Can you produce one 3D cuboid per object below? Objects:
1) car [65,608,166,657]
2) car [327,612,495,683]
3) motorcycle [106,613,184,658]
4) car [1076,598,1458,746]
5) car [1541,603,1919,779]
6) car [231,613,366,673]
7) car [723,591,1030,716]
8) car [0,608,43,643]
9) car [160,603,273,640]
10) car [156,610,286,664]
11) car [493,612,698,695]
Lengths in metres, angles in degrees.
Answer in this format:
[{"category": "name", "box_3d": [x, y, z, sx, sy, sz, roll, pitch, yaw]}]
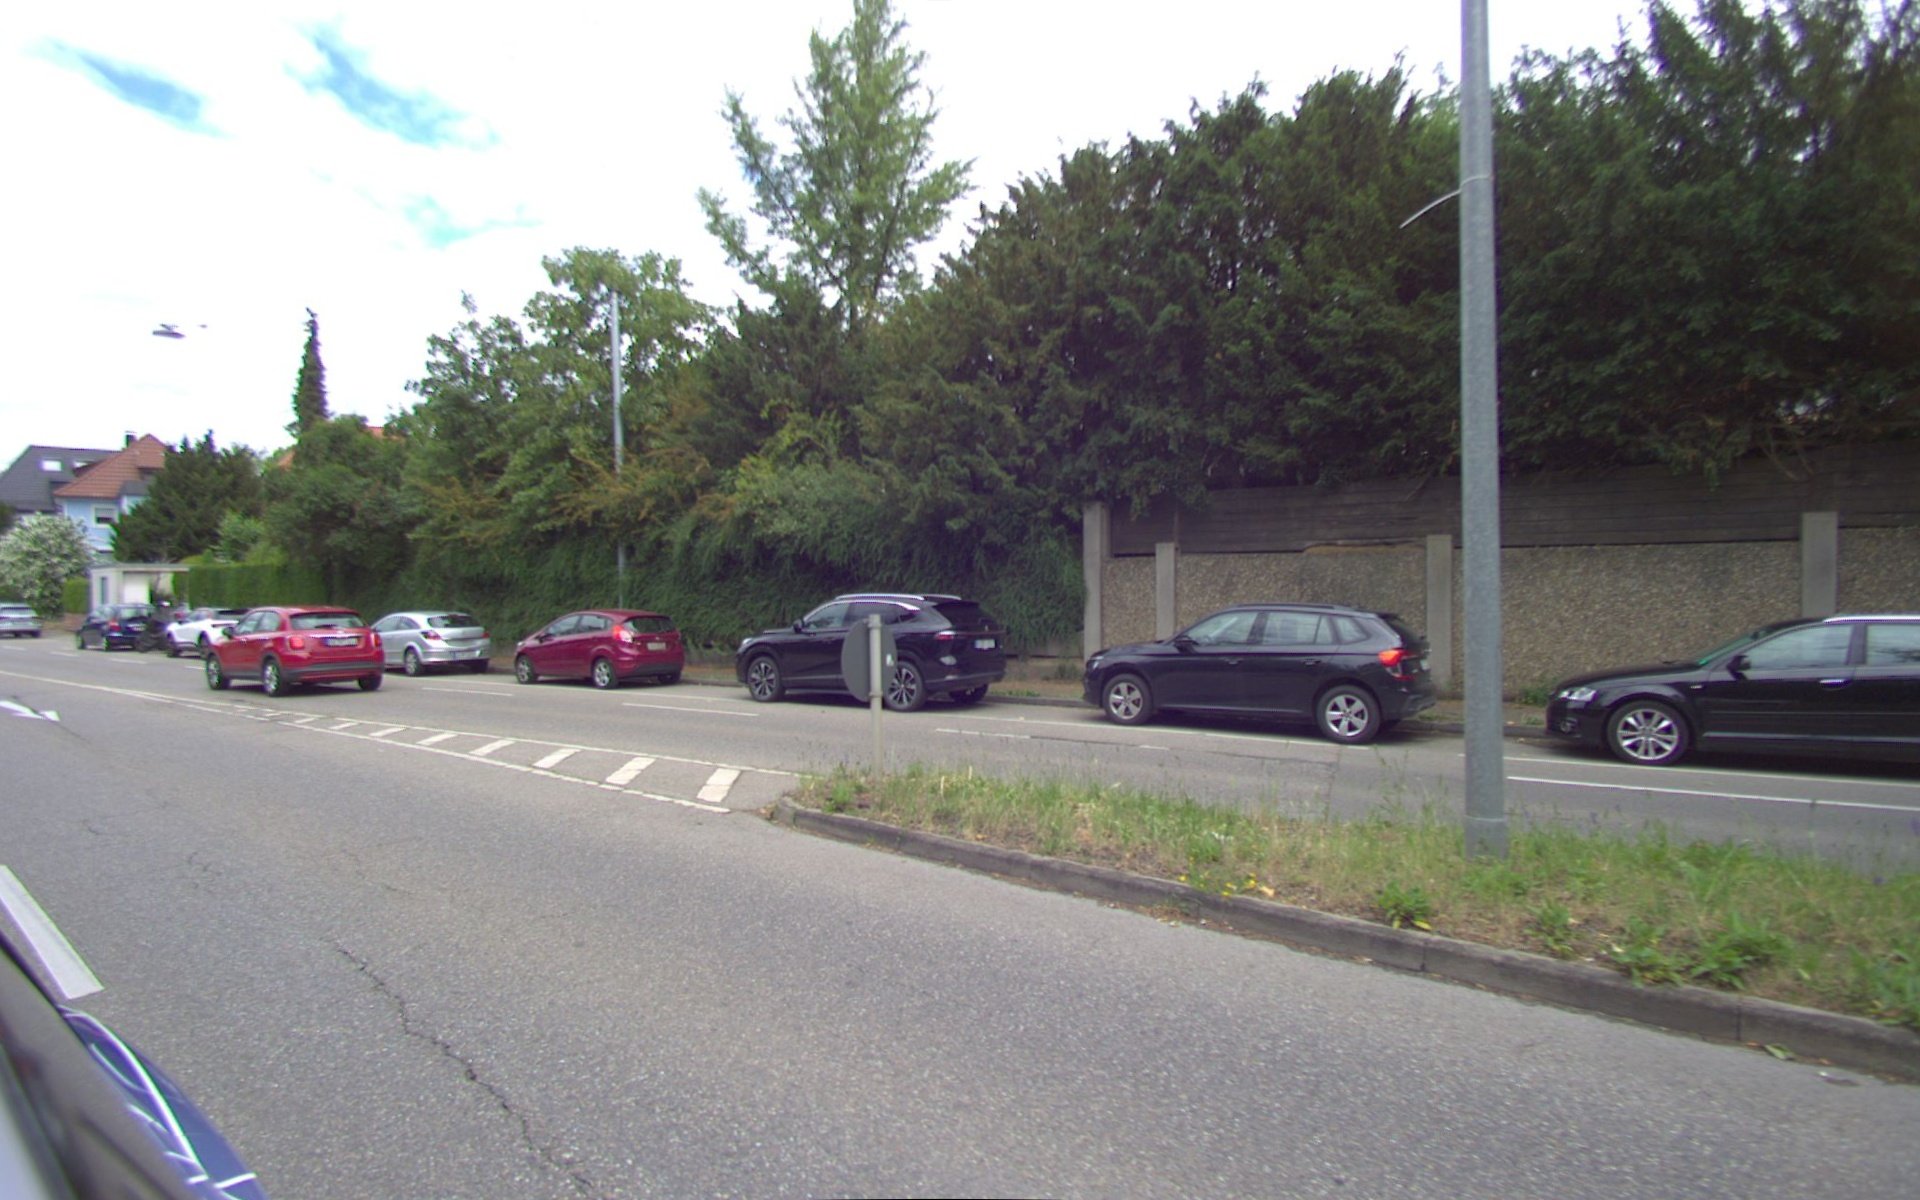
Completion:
[{"category": "car", "box_3d": [-29.061, 1.084, 34.808, 3.961, 1.568, 1.664, 0, 0, 34]}, {"category": "car", "box_3d": [-12.890, 1.040, 23.685, 4.420, 1.499, 1.655, 0, 0, 35]}, {"category": "motorcycle", "box_3d": [-26.237, 1.147, 32.596, 2.288, 1.366, 0.883, -2, -2, 19]}, {"category": "car", "box_3d": [3.669, 0.751, 12.337, 4.094, 1.523, 1.930, 0, -1, 35]}, {"category": "car", "box_3d": [7.826, 0.751, 9.304, 4.211, 1.411, 1.634, 0, 1, 34]}, {"category": "car", "box_3d": [-17.779, 1.105, 27.147, 3.900, 1.489, 1.656, 0, 0, 34]}, {"category": "car", "box_3d": [-1.338, 0.721, 15.544, 4.453, 1.655, 1.977, 0, 0, 33]}, {"category": "car", "box_3d": [-40.955, 1.062, 43.064, 4.401, 1.466, 1.795, 0, -2, 33]}, {"category": "car", "box_3d": [-31.208, 0.865, 42.510, 1.850, 1.401, 3.549, 0, 1, 43]}, {"category": "car", "box_3d": [-22.099, 1.062, 30.241, 4.016, 1.506, 1.874, 0, -1, 34]}, {"category": "car", "box_3d": [-7.155, 0.966, 19.748, 3.989, 1.449, 1.765, 0, 0, 34]}]
